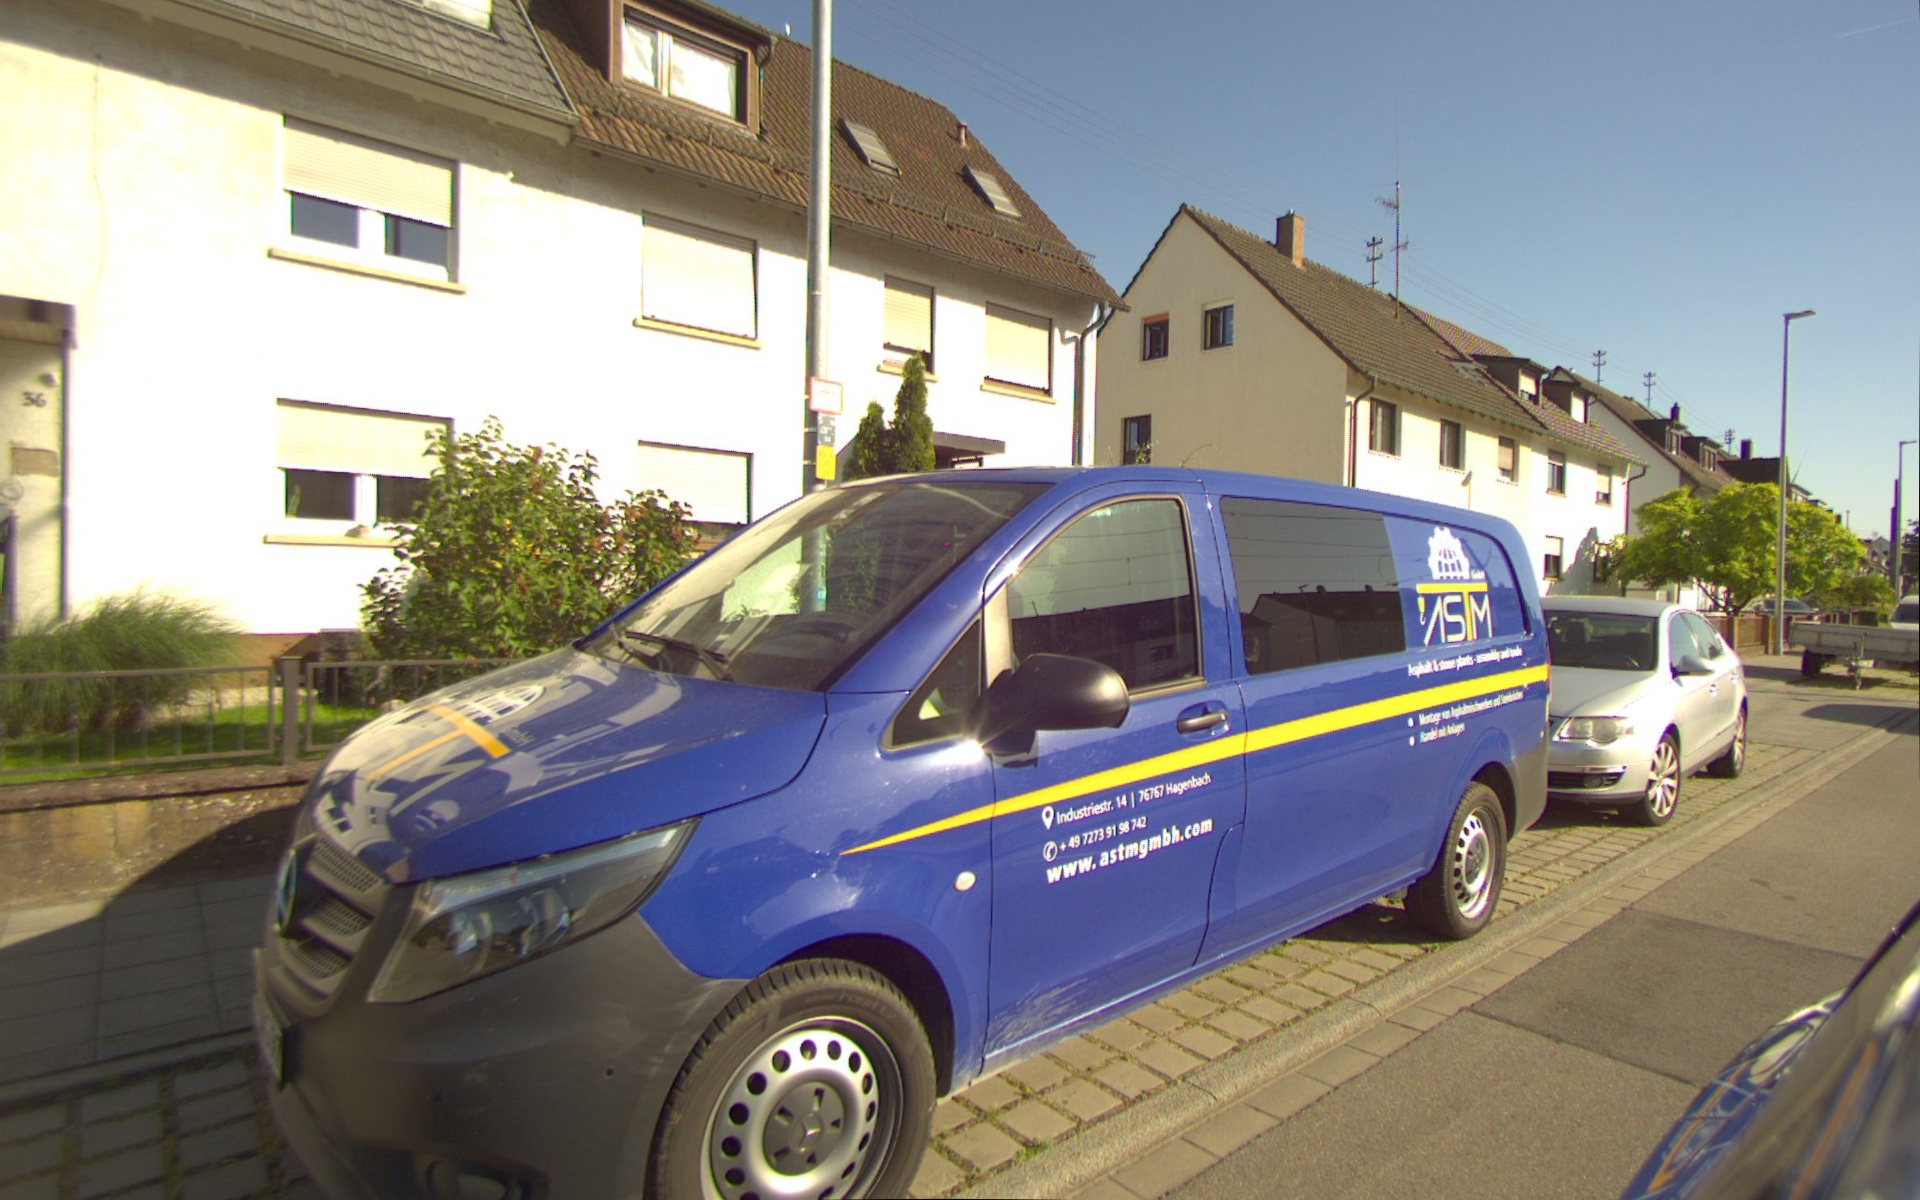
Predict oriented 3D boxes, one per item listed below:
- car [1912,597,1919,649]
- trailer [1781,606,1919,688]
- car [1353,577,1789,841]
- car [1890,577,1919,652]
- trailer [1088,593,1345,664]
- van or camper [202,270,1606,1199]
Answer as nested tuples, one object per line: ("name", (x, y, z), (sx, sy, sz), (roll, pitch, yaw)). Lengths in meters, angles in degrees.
("car", (29.610, 0.688, 29.842), (4.364, 1.488, 1.826), (0, 2, -41))
("trailer", (17.393, 0.802, 18.997), (6.329, 1.144, 2.275), (0, 4, -44))
("car", (5.200, 0.598, 8.199), (5.198, 1.476, 1.732), (0, 2, -44))
("car", (25.090, 0.391, 25.672), (4.507, 1.784, 1.794), (0, 4, -43))
("trailer", (5.310, 0.521, 21.629), (2.096, 1.170, 5.134), (-1, 2, -38))
("van or camper", (0.503, 0.407, 3.992), (5.486, 1.869, 1.953), (-1, 3, -41))
